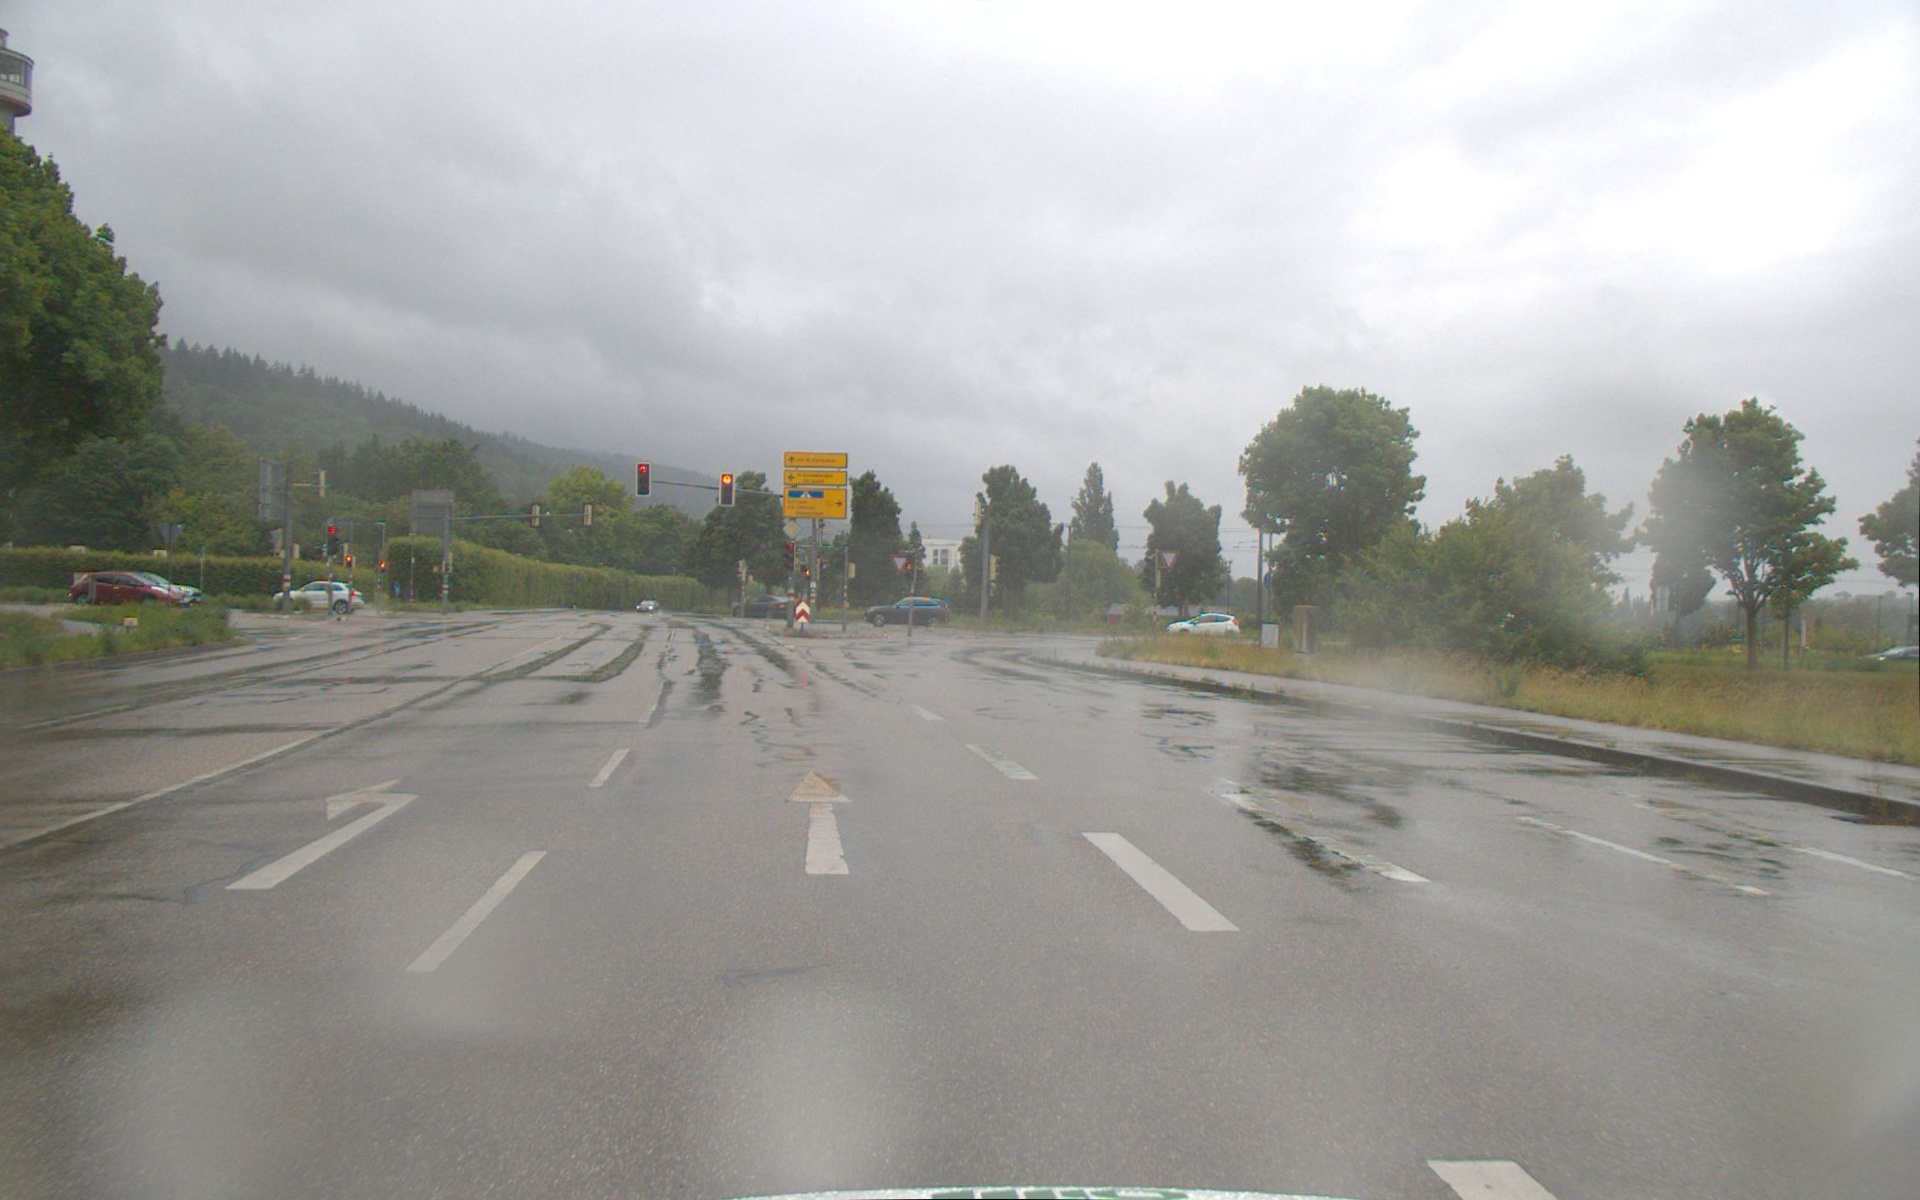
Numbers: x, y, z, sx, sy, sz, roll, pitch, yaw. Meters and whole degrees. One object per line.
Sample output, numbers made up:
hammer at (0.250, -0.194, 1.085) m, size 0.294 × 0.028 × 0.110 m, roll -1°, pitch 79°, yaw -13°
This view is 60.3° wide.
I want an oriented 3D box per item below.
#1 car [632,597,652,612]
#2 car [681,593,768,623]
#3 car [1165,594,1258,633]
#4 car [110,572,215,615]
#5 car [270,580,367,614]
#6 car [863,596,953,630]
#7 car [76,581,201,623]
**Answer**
car at (-35.543, 0.510, 184.832) m, size 1.843 × 1.601 × 4.639 m, roll -1°, pitch 0°, yaw -6°
car at (-12.662, 0.416, 89.292) m, size 4.580 × 1.580 × 1.820 m, roll -1°, pitch 0°, yaw -7°
car at (13.413, 0.721, 88.429) m, size 4.577 × 1.949 × 1.914 m, roll 1°, pitch 0°, yaw -4°
car at (-35.185, -0.285, 73.016) m, size 3.725 × 1.741 × 1.745 m, roll 1°, pitch 0°, yaw -3°
car at (-32.605, -0.170, 84.161) m, size 4.297 × 1.607 × 1.728 m, roll 2°, pitch 0°, yaw -12°
car at (-2.760, 0.668, 86.968) m, size 4.580 × 1.667 × 1.820 m, roll 1°, pitch 0°, yaw -7°
car at (-34.427, 0.066, 69.402) m, size 4.288 × 1.607 × 1.731 m, roll 2°, pitch 0°, yaw -3°
